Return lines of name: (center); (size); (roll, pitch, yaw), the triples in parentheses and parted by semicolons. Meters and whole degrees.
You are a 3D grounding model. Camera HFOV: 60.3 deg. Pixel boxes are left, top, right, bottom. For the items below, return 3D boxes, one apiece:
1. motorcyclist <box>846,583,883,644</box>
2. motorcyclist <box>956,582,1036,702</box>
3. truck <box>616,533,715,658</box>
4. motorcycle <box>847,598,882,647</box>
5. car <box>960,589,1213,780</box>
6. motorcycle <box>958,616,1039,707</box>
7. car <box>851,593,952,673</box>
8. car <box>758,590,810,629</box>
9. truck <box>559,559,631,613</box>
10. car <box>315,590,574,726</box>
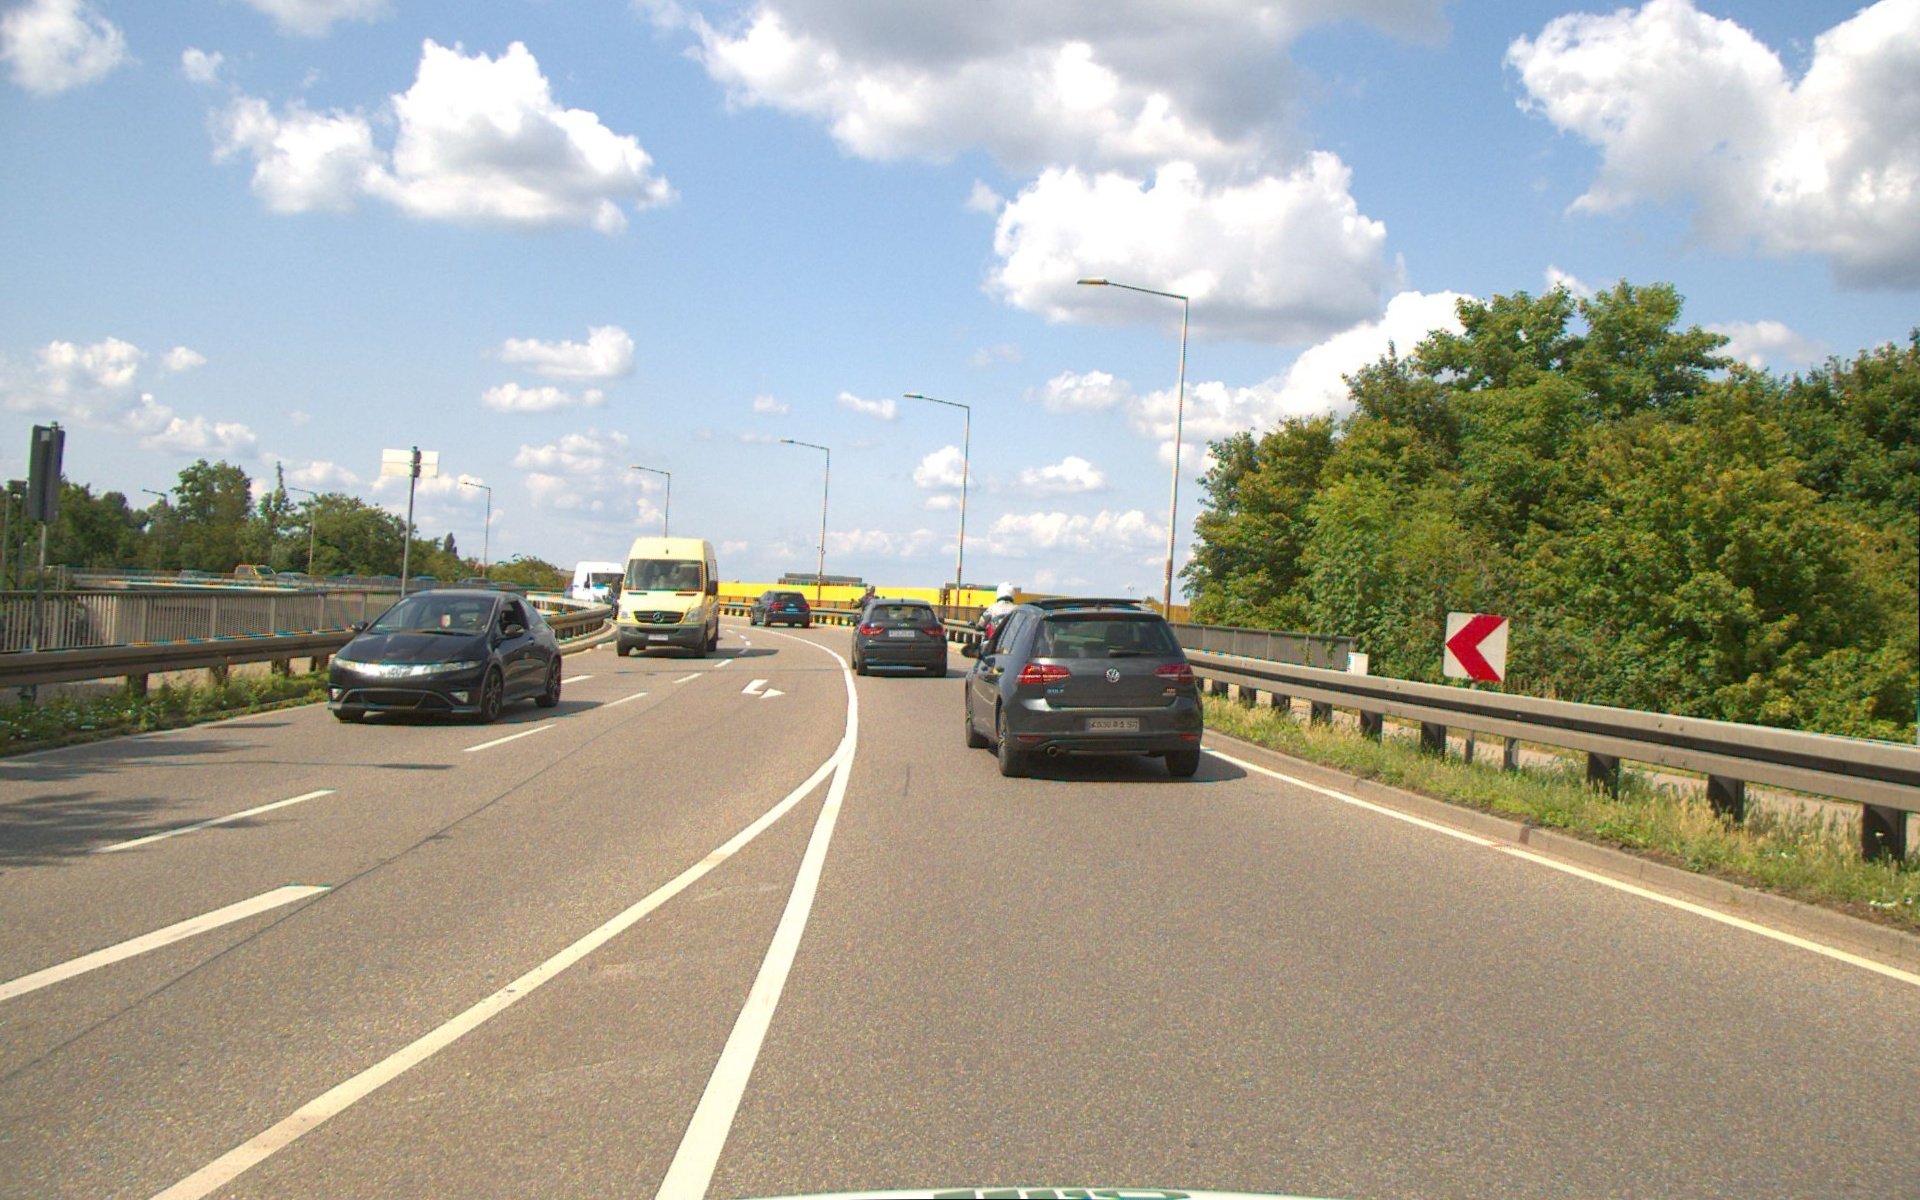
motorcyclist: (-2.645, 0.361, 45.819); (0.947, 1.624, 1.124); (2, 0, -5)
motorcyclist: (0.506, 0.593, 23.707); (0.947, 1.648, 1.123); (2, 0, -7)
truck: (-6.728, -0.133, 38.353); (1.956, 2.666, 6.094); (0, 0, -7)
motorcycle: (-2.651, 0.602, 45.791); (0.870, 1.269, 2.397); (2, 0, -5)
car: (1.031, 0.694, 15.324); (1.611, 1.504, 3.866); (2, 0, -6)
motorcycle: (0.519, 0.842, 23.484); (0.774, 1.151, 2.396); (2, 0, -7)
car: (-1.170, 0.623, 31.554); (1.649, 1.412, 3.734); (1, -1, -6)
car: (-7.135, 0.374, 66.978); (1.614, 1.504, 3.859); (2, 0, -13)
truck: (-18.066, -0.723, 81.705); (1.971, 2.551, 5.894); (1, 0, -28)
car: (-5.958, 0.614, 19.616); (1.761, 1.413, 4.006); (1, 0, 1)
